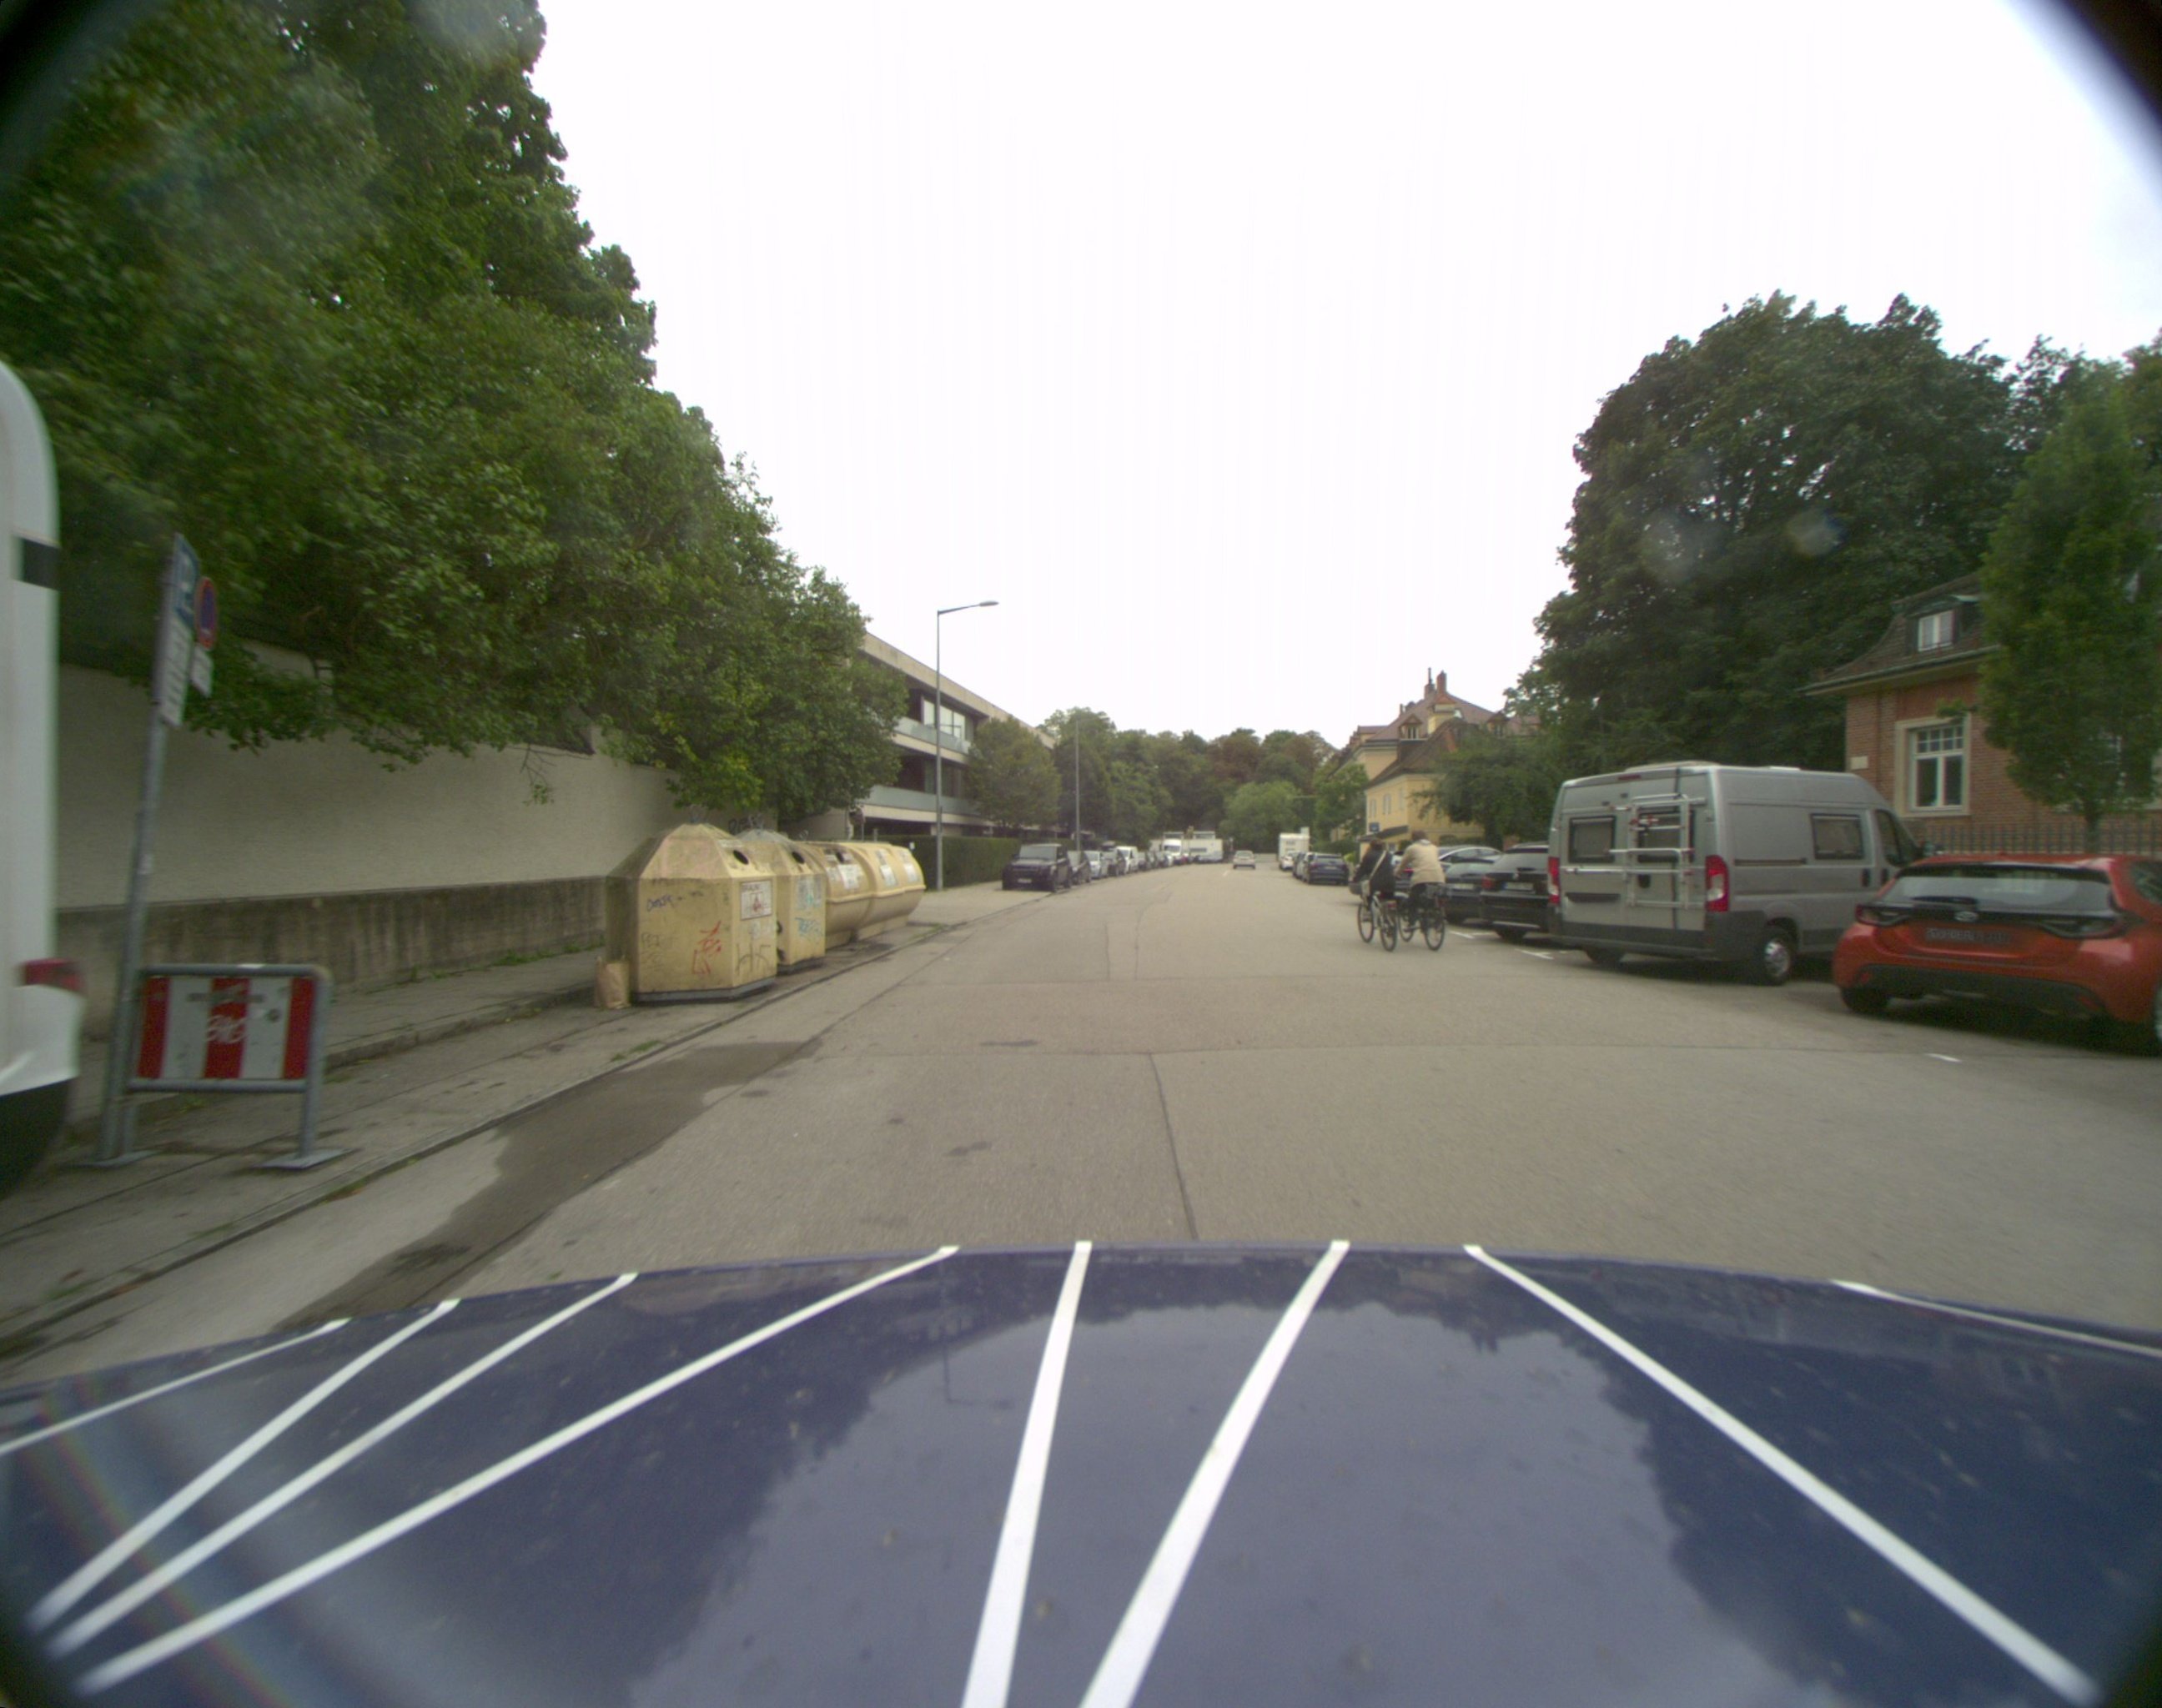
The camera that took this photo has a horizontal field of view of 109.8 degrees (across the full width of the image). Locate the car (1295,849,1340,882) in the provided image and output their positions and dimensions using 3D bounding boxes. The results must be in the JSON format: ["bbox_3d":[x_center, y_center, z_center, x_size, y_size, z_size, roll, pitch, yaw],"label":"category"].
[{"bbox_3d":[12.315,0.551,39.766,1.847,1.526,4.525,2,1,13],"label":"car"}]

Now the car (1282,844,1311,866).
[{"bbox_3d":[15.682,0.036,55.495,1.781,1.526,4.231,2,1,13],"label":"car"}]

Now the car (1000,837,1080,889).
[{"bbox_3d":[-1.507,0.271,30.164,1.991,1.861,5.080,-1,2,10],"label":"car"}]

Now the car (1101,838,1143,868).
[{"bbox_3d":[2.808,-0.066,50.590,1.825,1.850,4.903,-1,0,14],"label":"car"}]

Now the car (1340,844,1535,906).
[{"bbox_3d":[9.487,0.525,20.490,4.342,1.521,1.932,0,2,-1],"label":"car"}]

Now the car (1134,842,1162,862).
[{"bbox_3d":[5.452,-0.157,61.504,1.729,1.520,4.208,2,1,12],"label":"car"}]

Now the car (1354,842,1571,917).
[{"bbox_3d":[8.913,0.551,17.783,4.532,1.585,1.961,1,1,-21],"label":"car"}]

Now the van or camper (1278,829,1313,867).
[{"bbox_3d":[17.759,-0.508,63.234,2.458,2.924,7.218,2,1,14],"label":"van or camper"}]

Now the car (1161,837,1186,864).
[{"bbox_3d":[9.740,-0.397,79.374,2.083,2.671,6.093,2,1,11],"label":"car"}]

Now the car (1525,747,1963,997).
[{"bbox_3d":[8.316,0.189,9.606,4.642,2.548,2.230,0,1,-21],"label":"car"}]

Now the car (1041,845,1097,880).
[{"bbox_3d":[-0.489,0.338,35.446,1.751,1.530,4.572,0,1,10],"label":"car"}]

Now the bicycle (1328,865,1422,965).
[{"bbox_3d":[4.348,0.844,11.416,0.708,1.298,2.118,0,1,4],"label":"bicycle"}]

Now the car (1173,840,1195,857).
[{"bbox_3d":[12.318,-0.615,90.554,1.937,1.894,5.077,2,1,14],"label":"car"}]

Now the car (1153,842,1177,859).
[{"bbox_3d":[8.100,-0.322,72.866,1.874,1.560,5.005,2,0,10],"label":"car"}]

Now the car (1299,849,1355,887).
[{"bbox_3d":[11.229,0.606,34.965,1.848,1.526,4.565,2,1,11],"label":"car"}]

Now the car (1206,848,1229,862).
[{"bbox_3d":[16.947,0.180,94.254,1.995,1.683,4.341,0,0,22],"label":"car"}]

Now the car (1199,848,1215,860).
[{"bbox_3d":[16.737,0.038,101.151,1.895,1.438,4.271,-2,-1,6],"label":"car"}]

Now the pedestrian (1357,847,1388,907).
[{"bbox_3d":[8.248,0.632,21.500,0.591,1.638,0.714,1,2,5],"label":"pedestrian"}]

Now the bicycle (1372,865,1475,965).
[{"bbox_3d":[5.082,0.853,11.451,0.709,1.298,2.118,0,1,4],"label":"bicycle"}]

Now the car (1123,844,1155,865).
[{"bbox_3d":[4.329,0.026,56.281,1.750,1.455,4.246,0,1,12],"label":"car"}]

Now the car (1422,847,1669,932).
[{"bbox_3d":[9.351,0.655,15.323,4.427,1.478,1.829,1,2,-20],"label":"car"}]

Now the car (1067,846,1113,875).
[{"bbox_3d":[0.553,0.307,41.082,1.750,1.472,3.891,0,1,12],"label":"car"}]

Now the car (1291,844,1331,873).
[{"bbox_3d":[13.404,0.205,44.460,1.847,1.526,4.444,2,2,13],"label":"car"}]

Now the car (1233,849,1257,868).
[{"bbox_3d":[13.269,0.321,61.548,1.775,1.466,4.136,0,1,11],"label":"car"}]

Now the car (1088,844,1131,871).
[{"bbox_3d":[1.750,0.181,45.546,1.750,1.472,4.602,-1,0,13],"label":"car"}]

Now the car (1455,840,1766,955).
[{"bbox_3d":[8.762,0.627,12.609,4.532,1.616,1.962,0,2,-21],"label":"car"}]

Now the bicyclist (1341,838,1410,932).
[{"bbox_3d":[4.338,0.434,11.264,0.698,1.344,0.930,0,1,3],"label":"bicyclist"}]

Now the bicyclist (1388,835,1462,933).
[{"bbox_3d":[5.067,0.425,11.246,0.698,1.389,0.930,0,1,3],"label":"bicyclist"}]

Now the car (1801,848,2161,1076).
[{"bbox_3d":[9.098,0.728,6.976,4.532,1.508,1.933,-1,2,-23],"label":"car"}]
